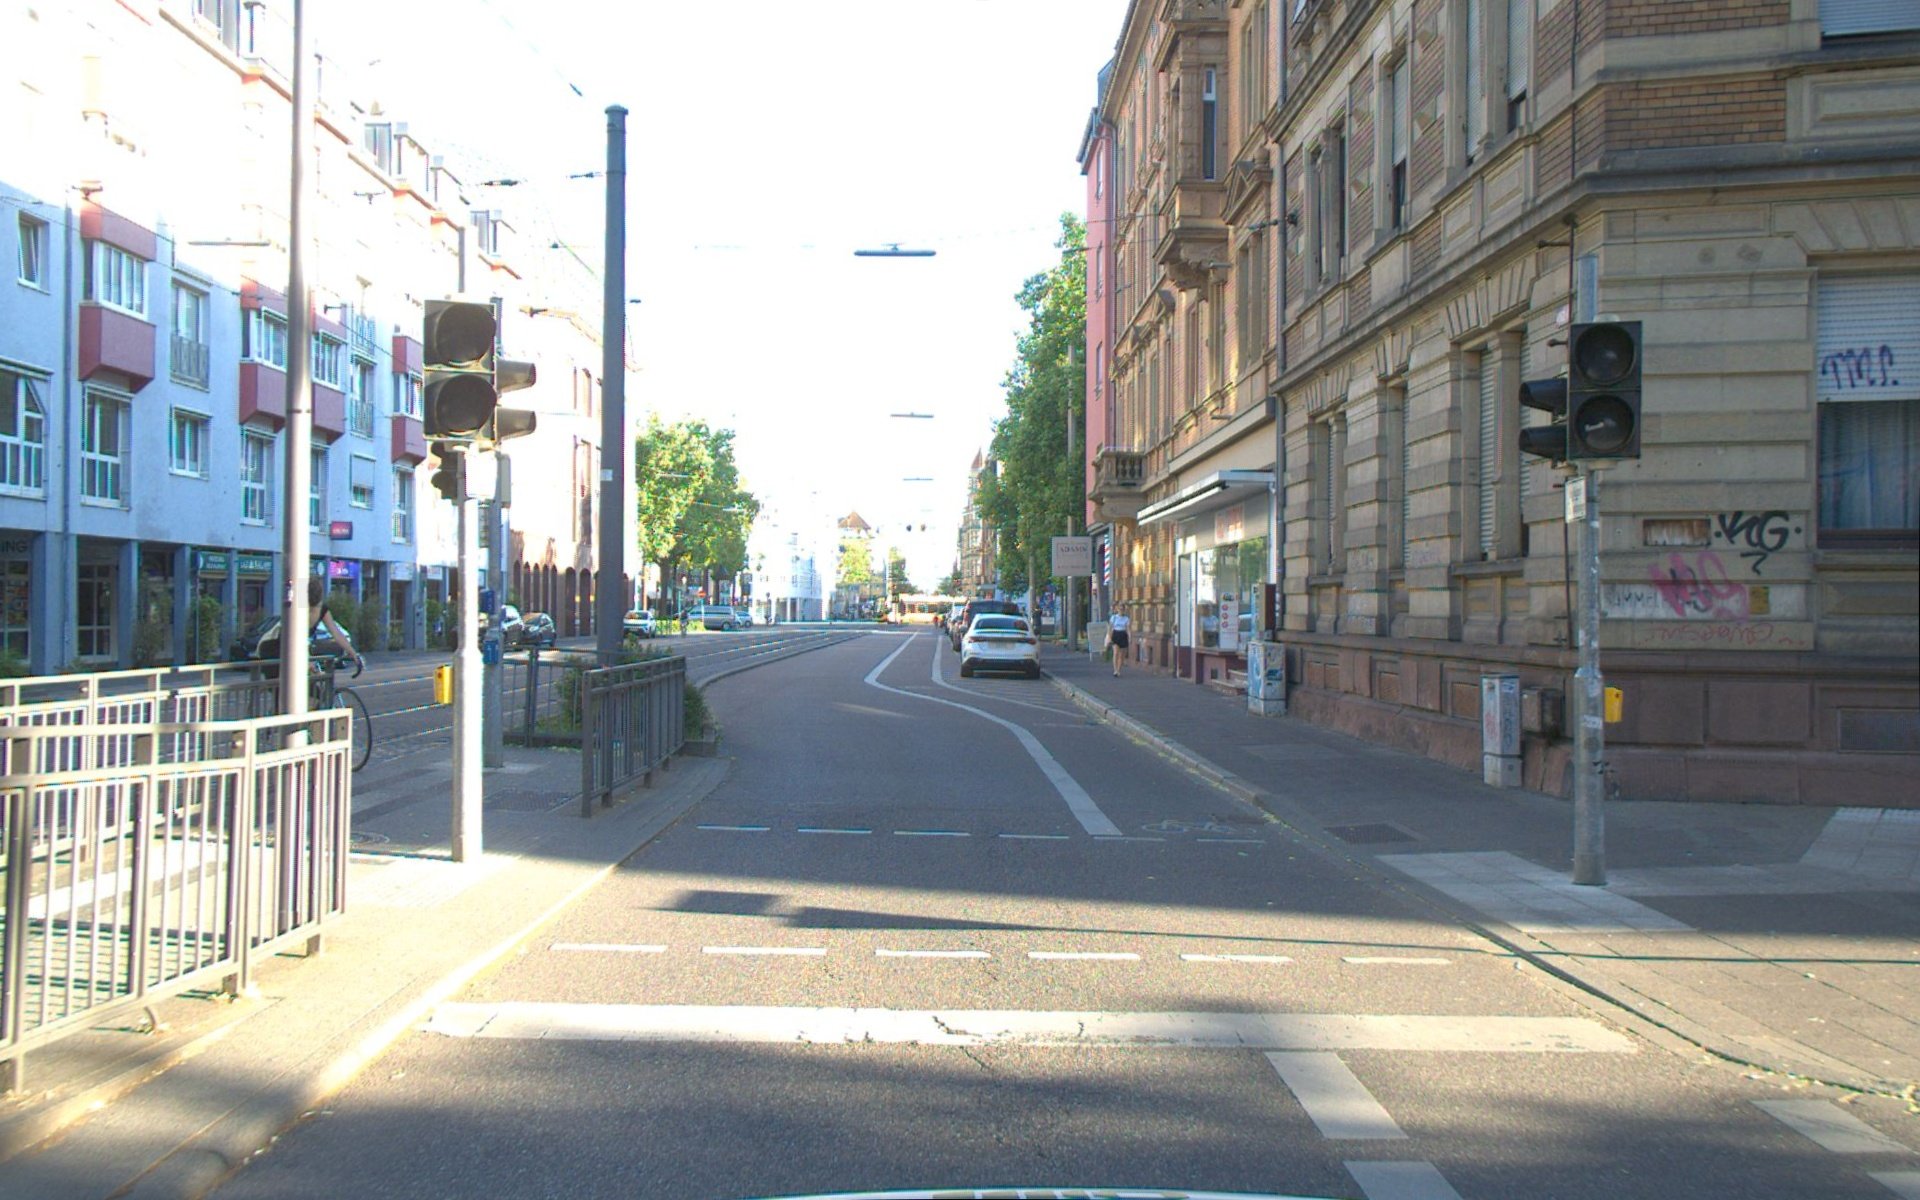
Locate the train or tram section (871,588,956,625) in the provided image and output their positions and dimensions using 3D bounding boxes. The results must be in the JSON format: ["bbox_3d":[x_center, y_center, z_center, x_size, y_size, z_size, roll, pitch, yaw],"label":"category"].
[{"bbox_3d":[-5.644,0.798,205.142,2.655,4.029,12.006,2,-1,44],"label":"train or tram section"}]

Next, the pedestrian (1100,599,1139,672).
[{"bbox_3d":[3.610,0.801,37.474,0.759,1.594,0.914,-3,0,2],"label":"pedestrian"}]

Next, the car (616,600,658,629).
[{"bbox_3d":[-18.985,0.842,97.322,1.832,1.628,4.251,1,0,-4],"label":"car"}]

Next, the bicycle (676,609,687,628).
[{"bbox_3d":[-16.482,1.077,97.908,0.571,1.096,2.182,-1,0,-7],"label":"bicycle"}]

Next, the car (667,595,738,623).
[{"bbox_3d":[-21.033,0.768,135.317,5.203,2.078,2.391,3,-3,-33],"label":"car"}]

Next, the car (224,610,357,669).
[{"bbox_3d":[-17.808,1.018,44.229,1.832,1.464,4.703,2,0,-3],"label":"car"}]

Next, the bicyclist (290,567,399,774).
[{"bbox_3d":[-4.923,0.544,13.228,0.732,1.606,0.530,0,0,42],"label":"bicyclist"}]

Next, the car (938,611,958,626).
[{"bbox_3d":[-1.319,1.979,175.973,2.024,1.413,4.224,3,0,-1],"label":"car"}]

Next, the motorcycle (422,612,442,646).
[{"bbox_3d":[-19.597,1.085,61.429,0.659,1.226,2.130,2,-1,-17],"label":"motorcycle"}]

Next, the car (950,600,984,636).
[{"bbox_3d":[0.417,1.037,97.671,1.930,2.049,4.558,-1,0,0],"label":"car"}]

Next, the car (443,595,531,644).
[{"bbox_3d":[-18.041,0.757,63.317,2.048,1.743,4.817,2,-1,-2],"label":"car"}]

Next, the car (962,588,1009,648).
[{"bbox_3d":[0.988,0.690,62.652,1.670,2.157,3.707,1,-1,2],"label":"car"}]

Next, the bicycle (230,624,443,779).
[{"bbox_3d":[-5.068,0.793,13.400,1.860,1.096,0.582,3,-1,33],"label":"bicycle"}]

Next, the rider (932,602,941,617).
[{"bbox_3d":[-2.334,0.943,163.833,0.865,1.507,0.713,2,-1,0],"label":"rider"}]

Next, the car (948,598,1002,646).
[{"bbox_3d":[0.579,0.885,68.024,1.910,1.819,5.179,2,-1,-2],"label":"car"}]

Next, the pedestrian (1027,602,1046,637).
[{"bbox_3d":[3.537,0.892,76.800,0.760,1.594,0.913,-3,0,0],"label":"pedestrian"}]

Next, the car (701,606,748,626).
[{"bbox_3d":[-22.010,1.487,154.566,3.831,1.656,1.855,3,-1,-32],"label":"car"}]

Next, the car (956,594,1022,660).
[{"bbox_3d":[0.898,0.828,51.923,1.915,1.901,4.988,2,0,0],"label":"car"}]

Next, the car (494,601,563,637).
[{"bbox_3d":[-18.437,0.815,70.823,1.830,1.476,3.584,2,-1,2],"label":"car"}]

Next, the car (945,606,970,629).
[{"bbox_3d":[-0.195,1.203,116.425,1.688,1.595,4.082,0,0,-1],"label":"car"}]

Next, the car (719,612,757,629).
[{"bbox_3d":[-22.134,2.067,164.900,3.486,1.507,1.564,3,-1,-33],"label":"car"}]

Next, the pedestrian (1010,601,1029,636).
[{"bbox_3d":[2.751,0.849,76.774,0.760,1.594,0.913,-3,0,0],"label":"pedestrian"}]

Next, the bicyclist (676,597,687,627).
[{"bbox_3d":[-16.522,0.712,98.127,0.561,1.742,0.744,-1,-1,-7],"label":"bicyclist"}]

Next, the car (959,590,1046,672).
[{"bbox_3d":[0.968,0.719,40.002,1.926,1.802,4.875,2,0,0],"label":"car"}]

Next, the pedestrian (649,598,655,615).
[{"bbox_3d":[-24.546,0.501,131.776,0.357,1.367,0.480,3,-1,-21],"label":"pedestrian"}]
